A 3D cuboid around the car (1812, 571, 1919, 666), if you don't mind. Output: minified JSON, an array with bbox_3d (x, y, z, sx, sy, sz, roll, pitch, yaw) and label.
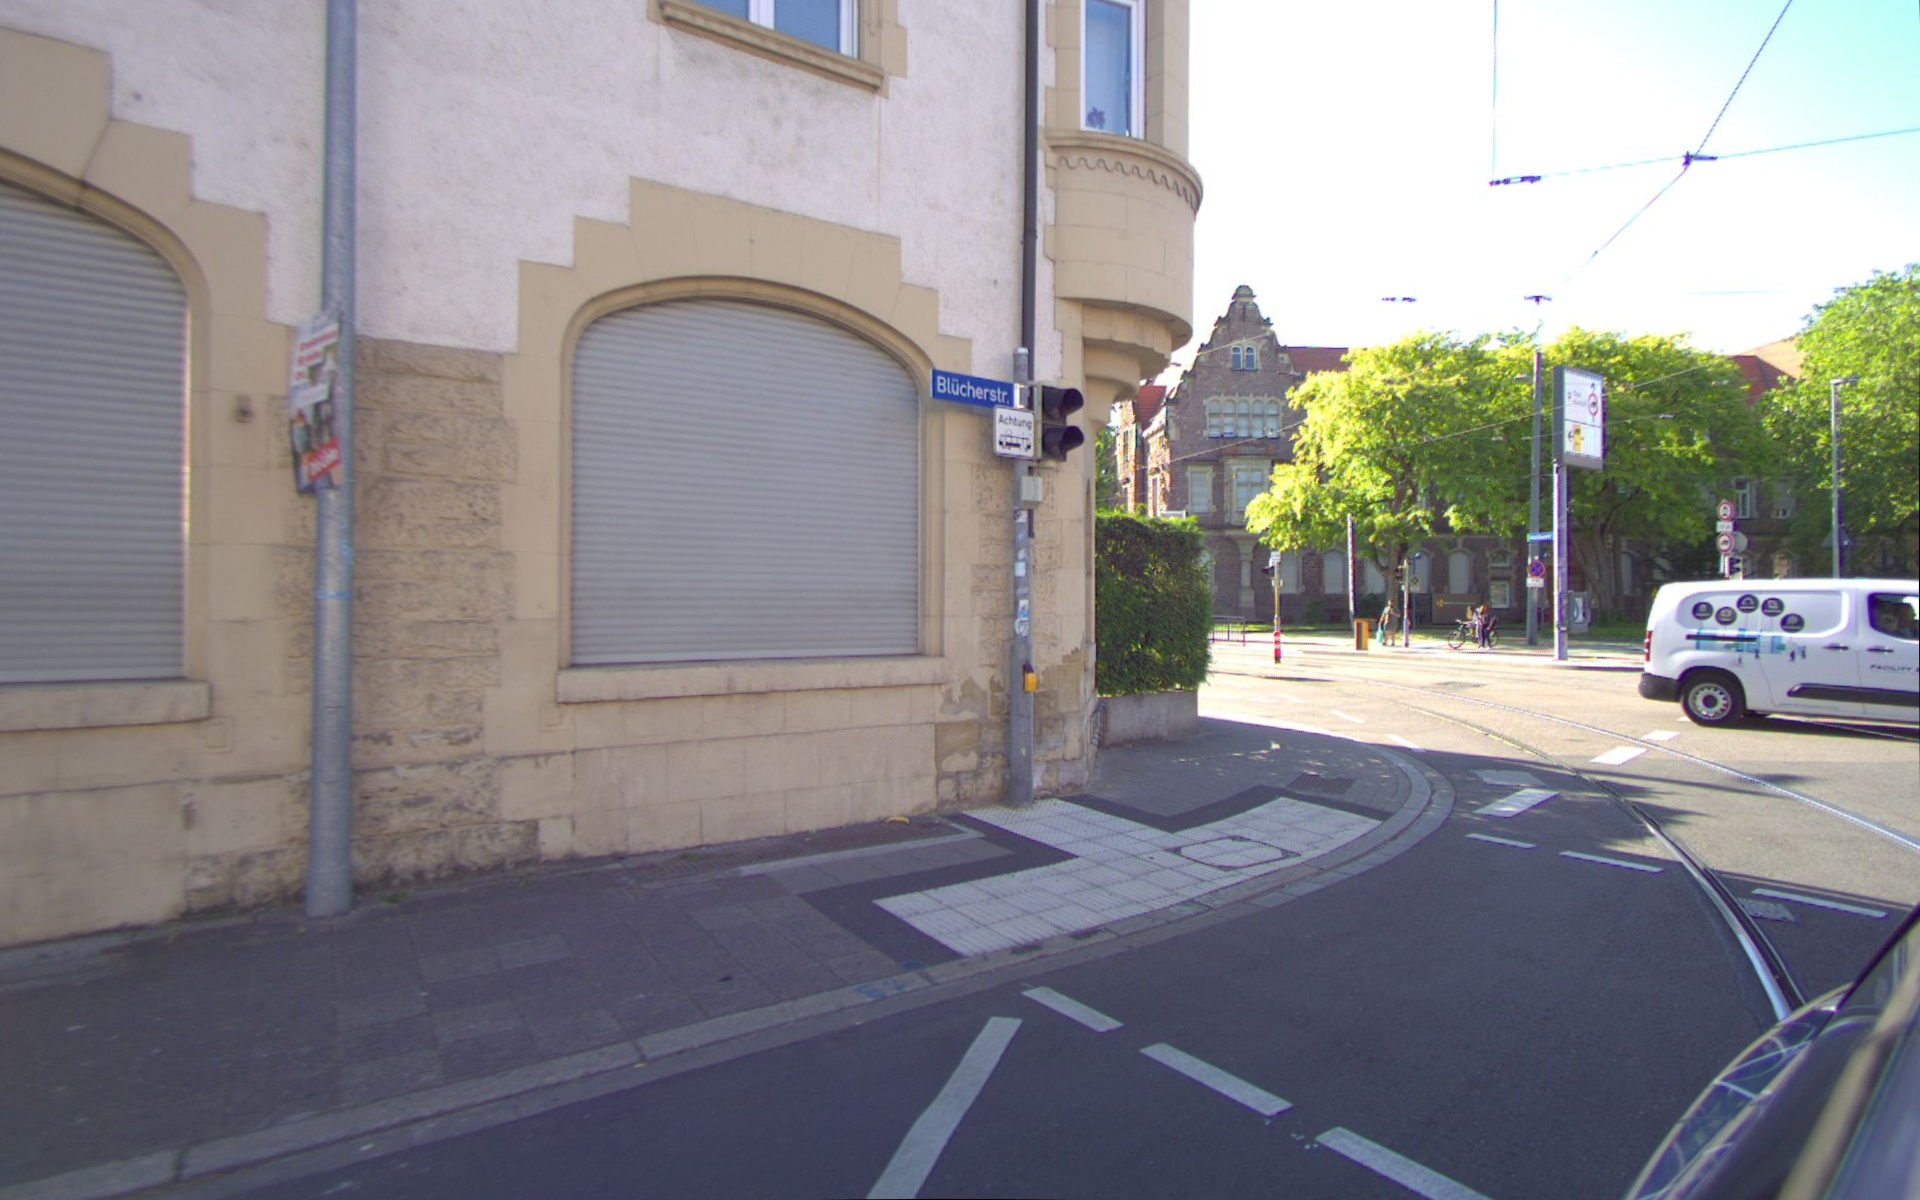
[{"bbox_3d":[21.003,0.388,20.520,2.120,1.953,5.312,0,0,-22],"label":"car"}]

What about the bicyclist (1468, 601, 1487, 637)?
[{"bbox_3d":[18.841,0.697,36.838,0.613,1.300,0.474,0,-1,27],"label":"bicyclist"}]

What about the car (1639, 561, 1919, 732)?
[{"bbox_3d":[10.891,0.474,11.701,1.823,1.821,4.697,-3,2,-35],"label":"car"}]

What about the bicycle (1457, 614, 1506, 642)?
[{"bbox_3d":[18.931,1.017,36.767,1.577,1.009,0.474,0,0,27],"label":"bicycle"}]

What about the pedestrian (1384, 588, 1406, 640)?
[{"bbox_3d":[16.753,0.548,38.943,0.693,1.980,0.480,-1,-1,35],"label":"pedestrian"}]

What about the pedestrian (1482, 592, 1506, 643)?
[{"bbox_3d":[18.729,0.623,35.501,0.665,1.769,0.480,-1,-1,35],"label":"pedestrian"}]
